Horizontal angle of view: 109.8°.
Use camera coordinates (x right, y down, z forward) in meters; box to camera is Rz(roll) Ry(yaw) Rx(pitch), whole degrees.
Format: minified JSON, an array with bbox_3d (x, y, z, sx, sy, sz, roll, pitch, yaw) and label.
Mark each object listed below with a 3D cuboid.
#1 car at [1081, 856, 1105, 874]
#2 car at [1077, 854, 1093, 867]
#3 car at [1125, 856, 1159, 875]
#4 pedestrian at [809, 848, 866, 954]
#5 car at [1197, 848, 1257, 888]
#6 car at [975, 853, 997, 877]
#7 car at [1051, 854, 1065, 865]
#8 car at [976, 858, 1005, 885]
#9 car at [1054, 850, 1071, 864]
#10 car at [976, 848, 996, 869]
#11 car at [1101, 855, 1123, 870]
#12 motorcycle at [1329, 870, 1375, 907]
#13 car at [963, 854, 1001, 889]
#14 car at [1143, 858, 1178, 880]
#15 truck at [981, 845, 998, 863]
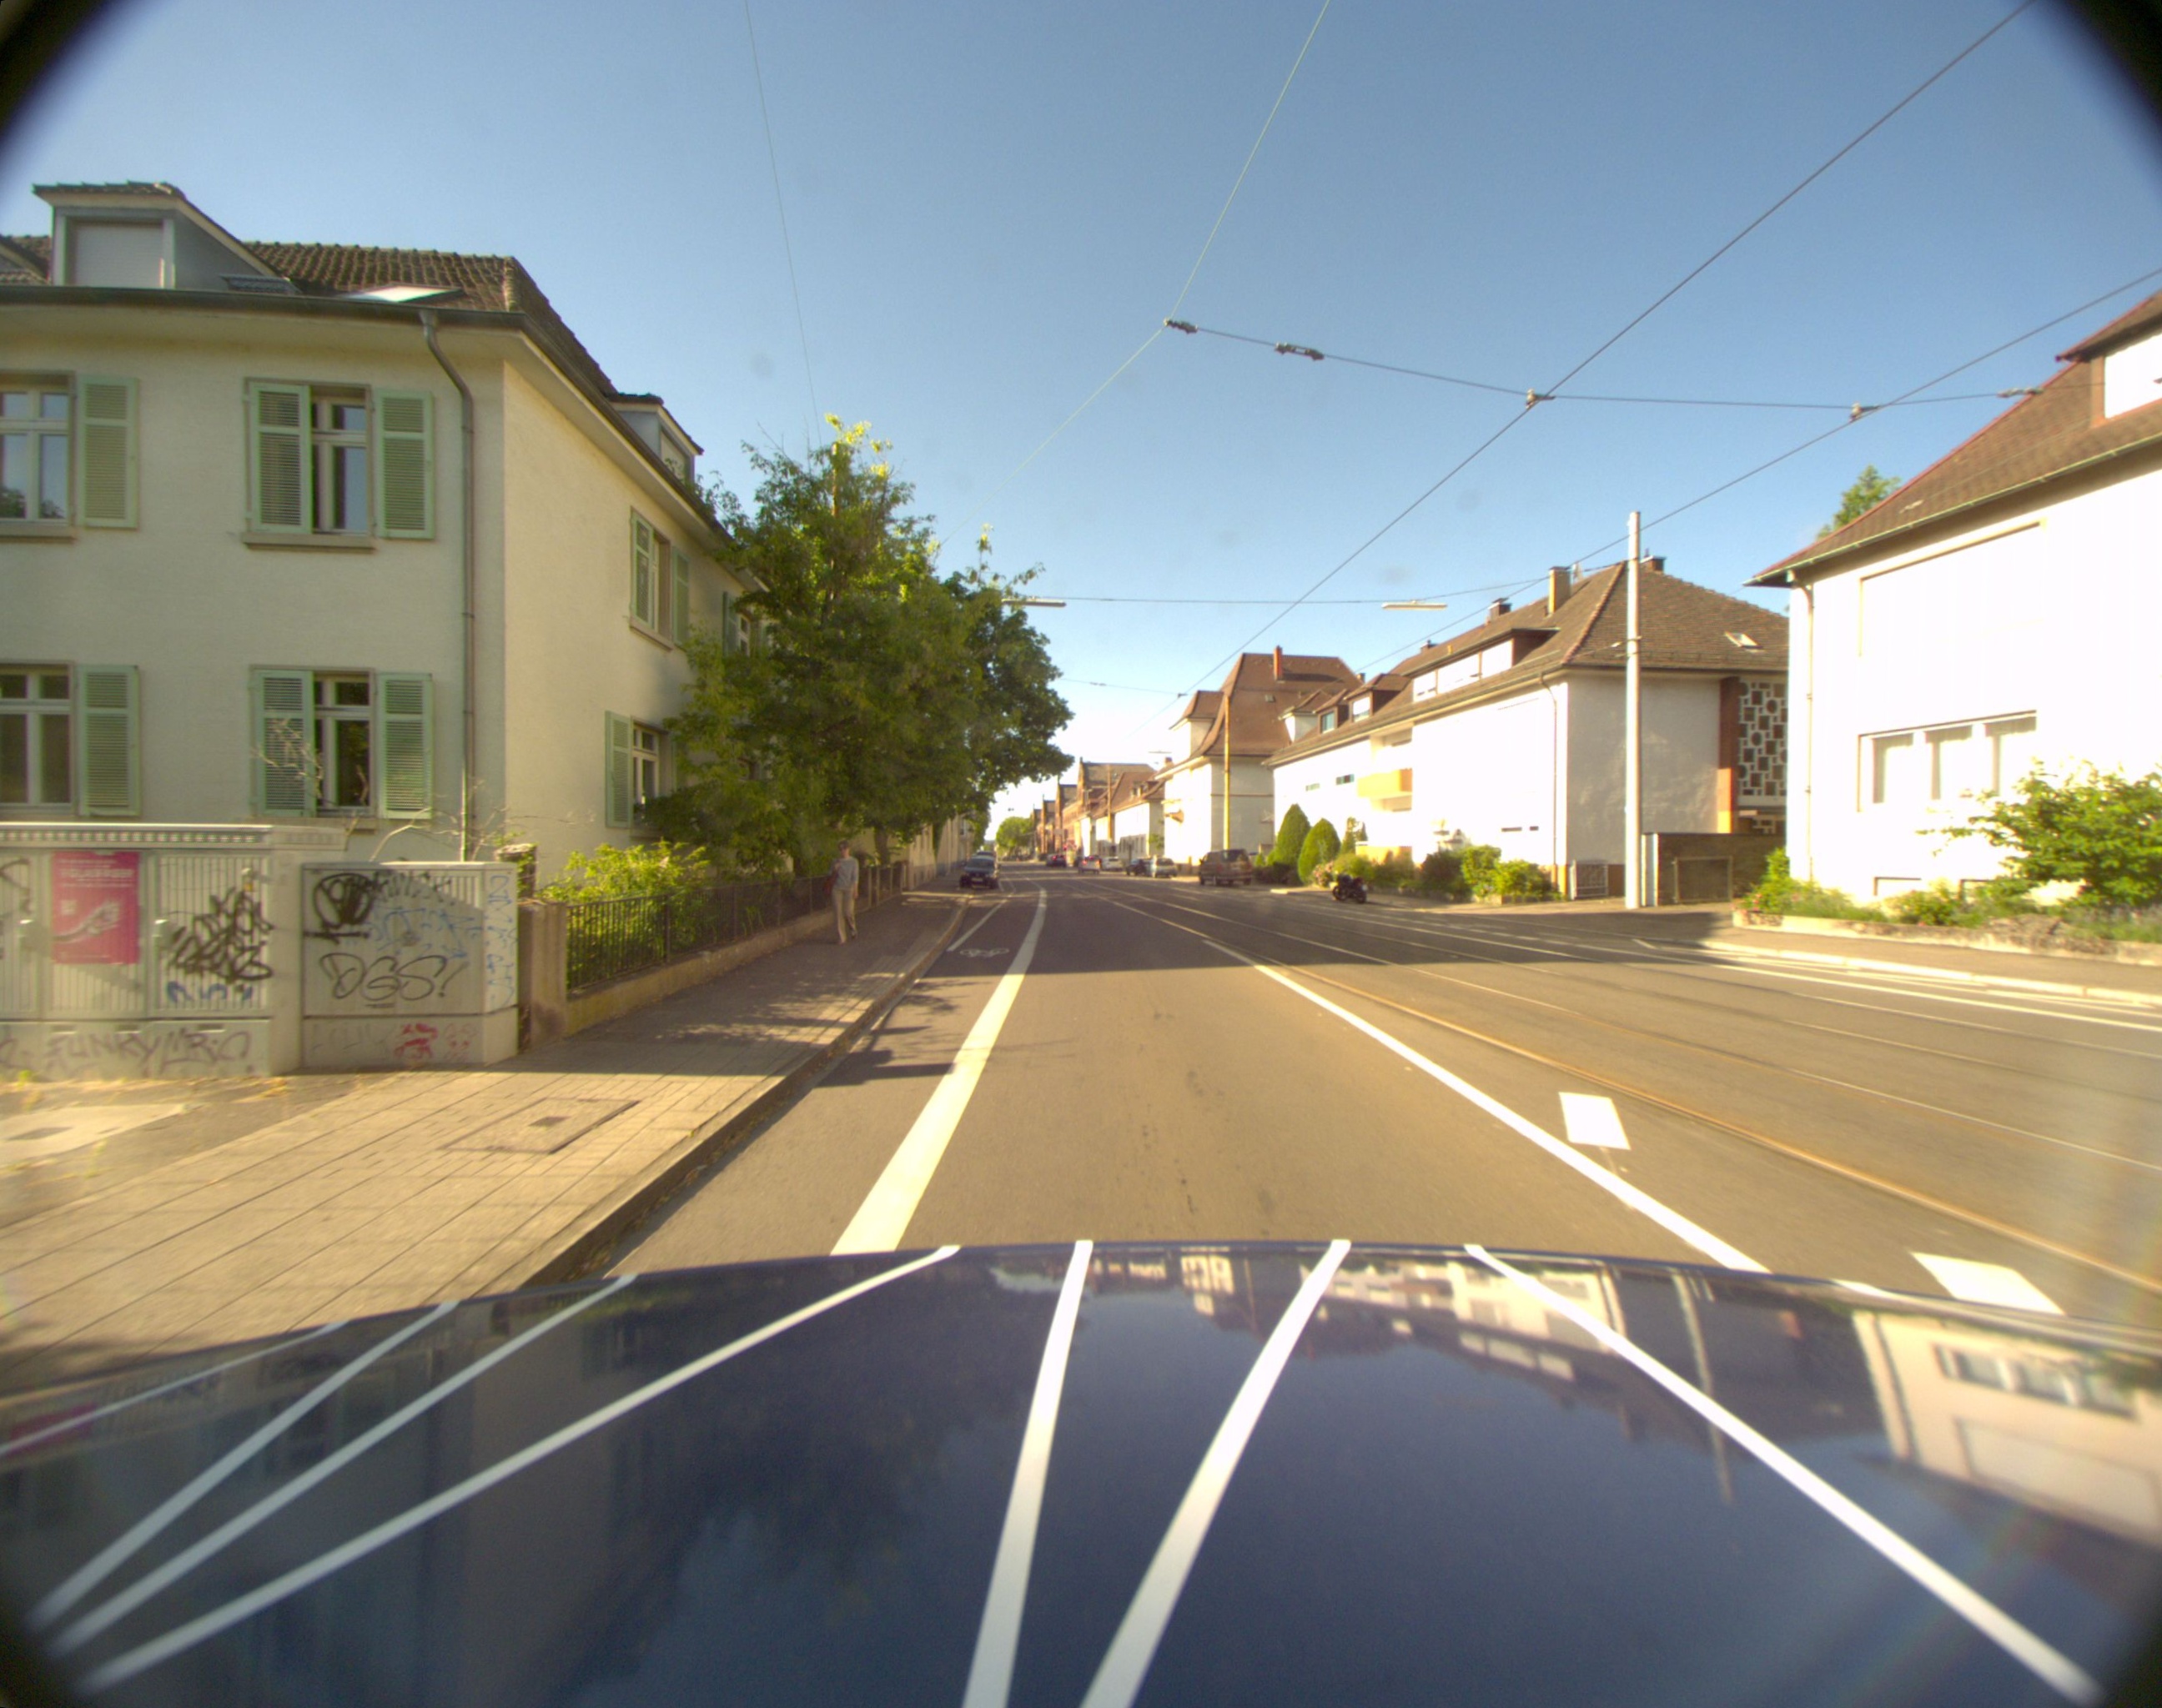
[{"bbox_3d":[0.983,0.920,63.678,1.580,1.468,3.438,0,0,-6],"label":"car"},{"bbox_3d":[0.465,0.850,103.037,1.621,1.618,3.918,2,0,-7],"label":"car"},{"bbox_3d":[4.915,0.900,61.452,1.668,1.468,4.246,0,0,-10],"label":"car"},{"bbox_3d":[-3.993,0.754,12.524,0.720,1.678,0.869,1,0,-8],"label":"pedestrian"},{"bbox_3d":[7.797,0.718,41.121,1.911,2.002,4.946,-1,0,-4],"label":"car"},{"bbox_3d":[-6.793,0.753,54.129,1.462,1.589,3.291,-1,0,-8],"label":"car"},{"bbox_3d":[-3.160,0.688,103.262,1.622,1.452,4.073,2,0,-5],"label":"car"},{"bbox_3d":[-5.466,0.994,45.527,1.606,1.516,3.546,-1,0,-8],"label":"car"},{"bbox_3d":[-2.378,0.356,95.275,1.709,1.695,4.361,2,0,-6],"label":"car"},{"bbox_3d":[-9.403,0.388,75.041,1.912,1.975,4.559,-1,0,-7],"label":"car"},{"bbox_3d":[3.099,0.812,76.372,1.636,1.449,4.013,2,0,-6],"label":"car"},{"bbox_3d":[9.165,1.155,25.812,0.538,1.155,2.170,2,0,-6],"label":"motorcycle"},{"bbox_3d":[-4.716,0.796,36.473,1.671,1.555,3.768,0,1,-6],"label":"car"},{"bbox_3d":[5.764,1.074,55.422,1.682,1.468,3.833,-1,0,-6],"label":"car"},{"bbox_3d":[-13.267,-0.020,110.338,2.302,2.463,6.142,0,0,-6],"label":"truck"}]
